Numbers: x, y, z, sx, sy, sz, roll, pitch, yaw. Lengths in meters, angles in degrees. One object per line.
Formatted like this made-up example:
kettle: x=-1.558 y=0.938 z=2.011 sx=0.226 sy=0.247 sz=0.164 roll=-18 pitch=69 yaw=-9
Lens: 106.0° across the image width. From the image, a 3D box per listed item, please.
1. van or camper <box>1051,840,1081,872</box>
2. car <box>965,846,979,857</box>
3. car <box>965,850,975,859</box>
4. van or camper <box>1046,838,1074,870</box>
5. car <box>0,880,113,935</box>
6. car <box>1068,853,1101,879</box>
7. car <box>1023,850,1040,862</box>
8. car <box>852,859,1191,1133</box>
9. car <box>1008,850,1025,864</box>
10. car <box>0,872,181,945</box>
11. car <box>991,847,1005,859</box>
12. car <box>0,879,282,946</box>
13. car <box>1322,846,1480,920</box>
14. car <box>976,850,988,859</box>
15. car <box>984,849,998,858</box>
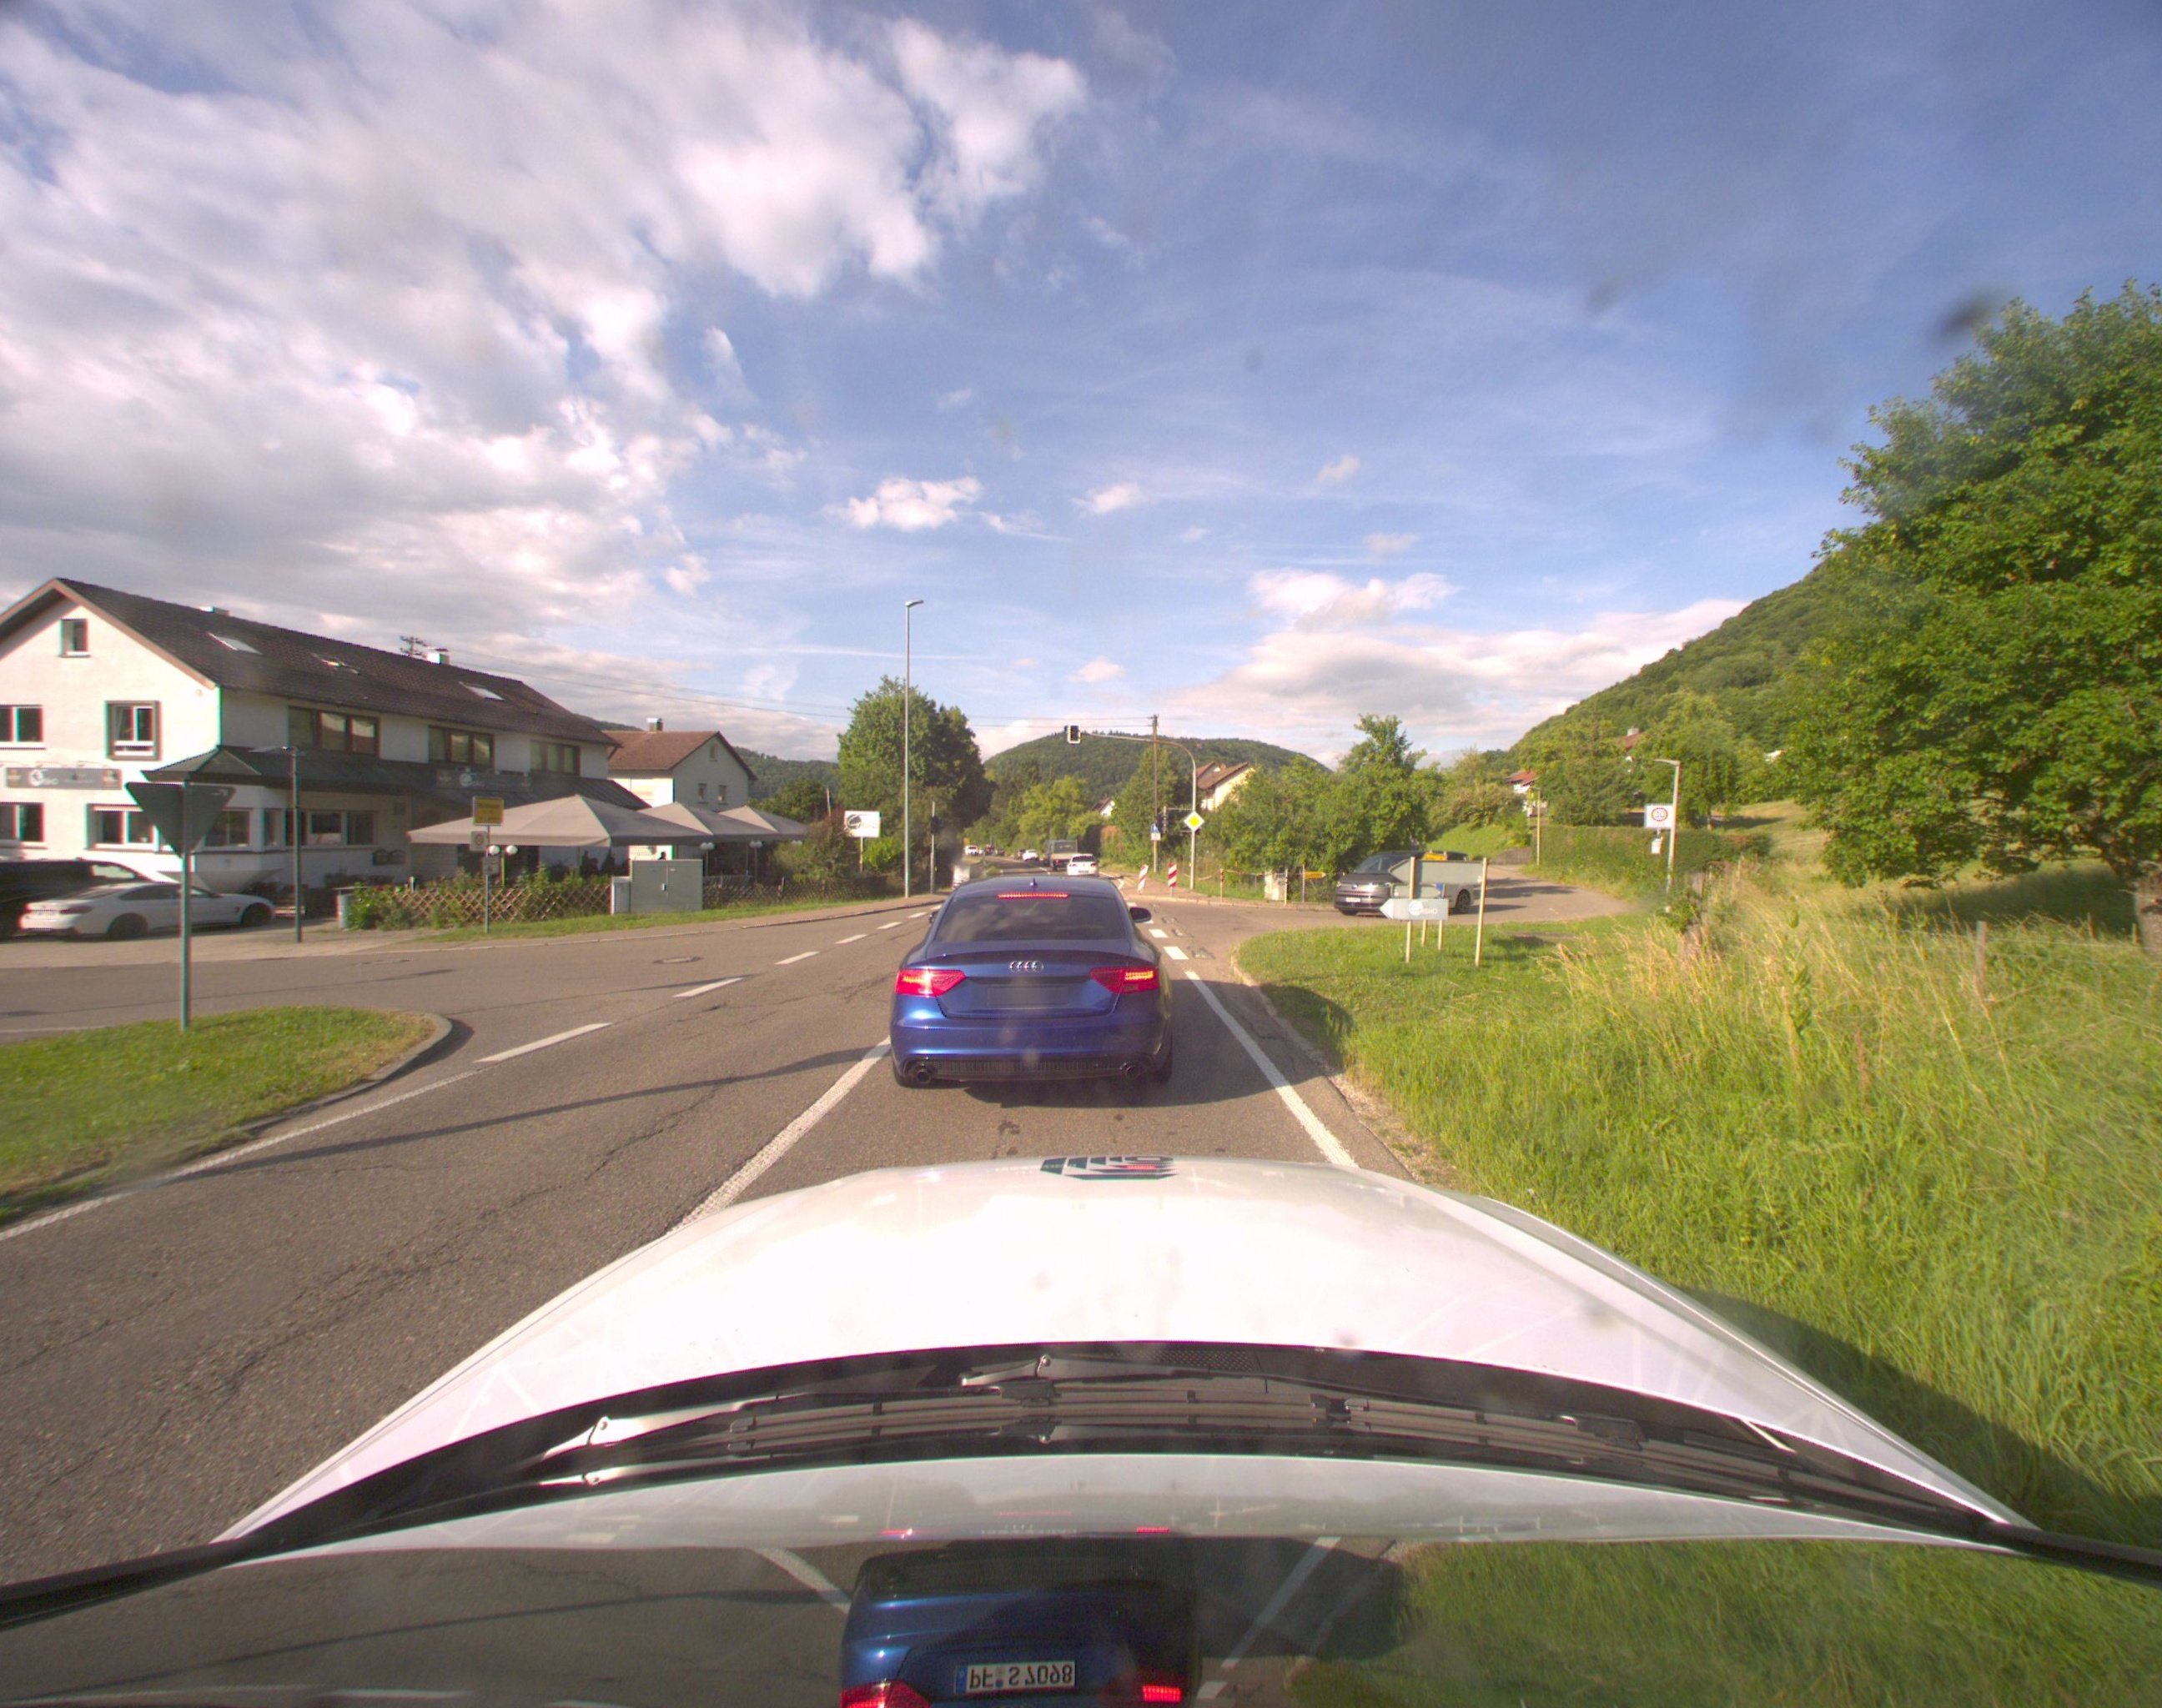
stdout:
van or camper: x=-1.273 y=0.125 z=65.904 sx=2.176 sy=2.385 sz=5.362 roll=-1 pitch=0 yaw=-4
car: x=-19.463 y=-0.423 z=145.061 sx=1.996 sy=1.903 sz=5.229 roll=-2 pitch=1 yaw=-13
car: x=-23.923 y=0.049 z=175.074 sx=1.774 sy=1.783 sz=3.982 roll=-1 pitch=0 yaw=-13
van or camper: x=-2.126 y=-0.035 z=79.939 sx=2.410 sy=2.904 sz=6.122 roll=-1 pitch=0 yaw=-4
car: x=-30.402 y=1.536 z=22.343 sx=1.984 sy=1.389 sz=4.582 roll=-2 pitch=0 yaw=5
car: x=0.234 y=0.652 z=46.224 sx=1.765 sy=1.415 sz=4.174 roll=1 pitch=0 yaw=0
car: x=-6.276 y=0.228 z=102.743 sx=1.818 sy=1.552 sz=3.989 roll=-1 pitch=0 yaw=-8
car: x=-0.313 y=0.796 z=6.599 sx=1.824 sy=1.409 sz=4.226 roll=-2 pitch=0 yaw=0
car: x=-9.035 y=0.432 z=114.110 sx=1.797 sy=1.794 sz=3.984 roll=-1 pitch=0 yaw=-11
car: x=-27.338 y=1.405 z=21.421 sx=1.984 sy=1.685 sz=4.582 roll=-2 pitch=0 yaw=5
car: x=-14.208 y=-0.158 z=139.757 sx=1.995 sy=2.013 sz=3.983 roll=-1 pitch=0 yaw=-12
car: x=-24.639 y=1.470 z=21.684 sx=1.984 sy=1.389 sz=4.582 roll=-2 pitch=0 yaw=5
car: x=9.306 y=0.761 z=23.502 sx=4.893 sy=1.876 sz=1.978 roll=0 pitch=1 yaw=-37
car: x=-19.095 y=0.096 z=157.082 sx=1.944 sy=1.684 sz=3.982 roll=-2 pitch=0 yaw=-13
car: x=-16.412 y=-0.104 z=148.614 sx=2.043 sy=1.684 sz=3.982 roll=-2 pitch=0 yaw=-13
